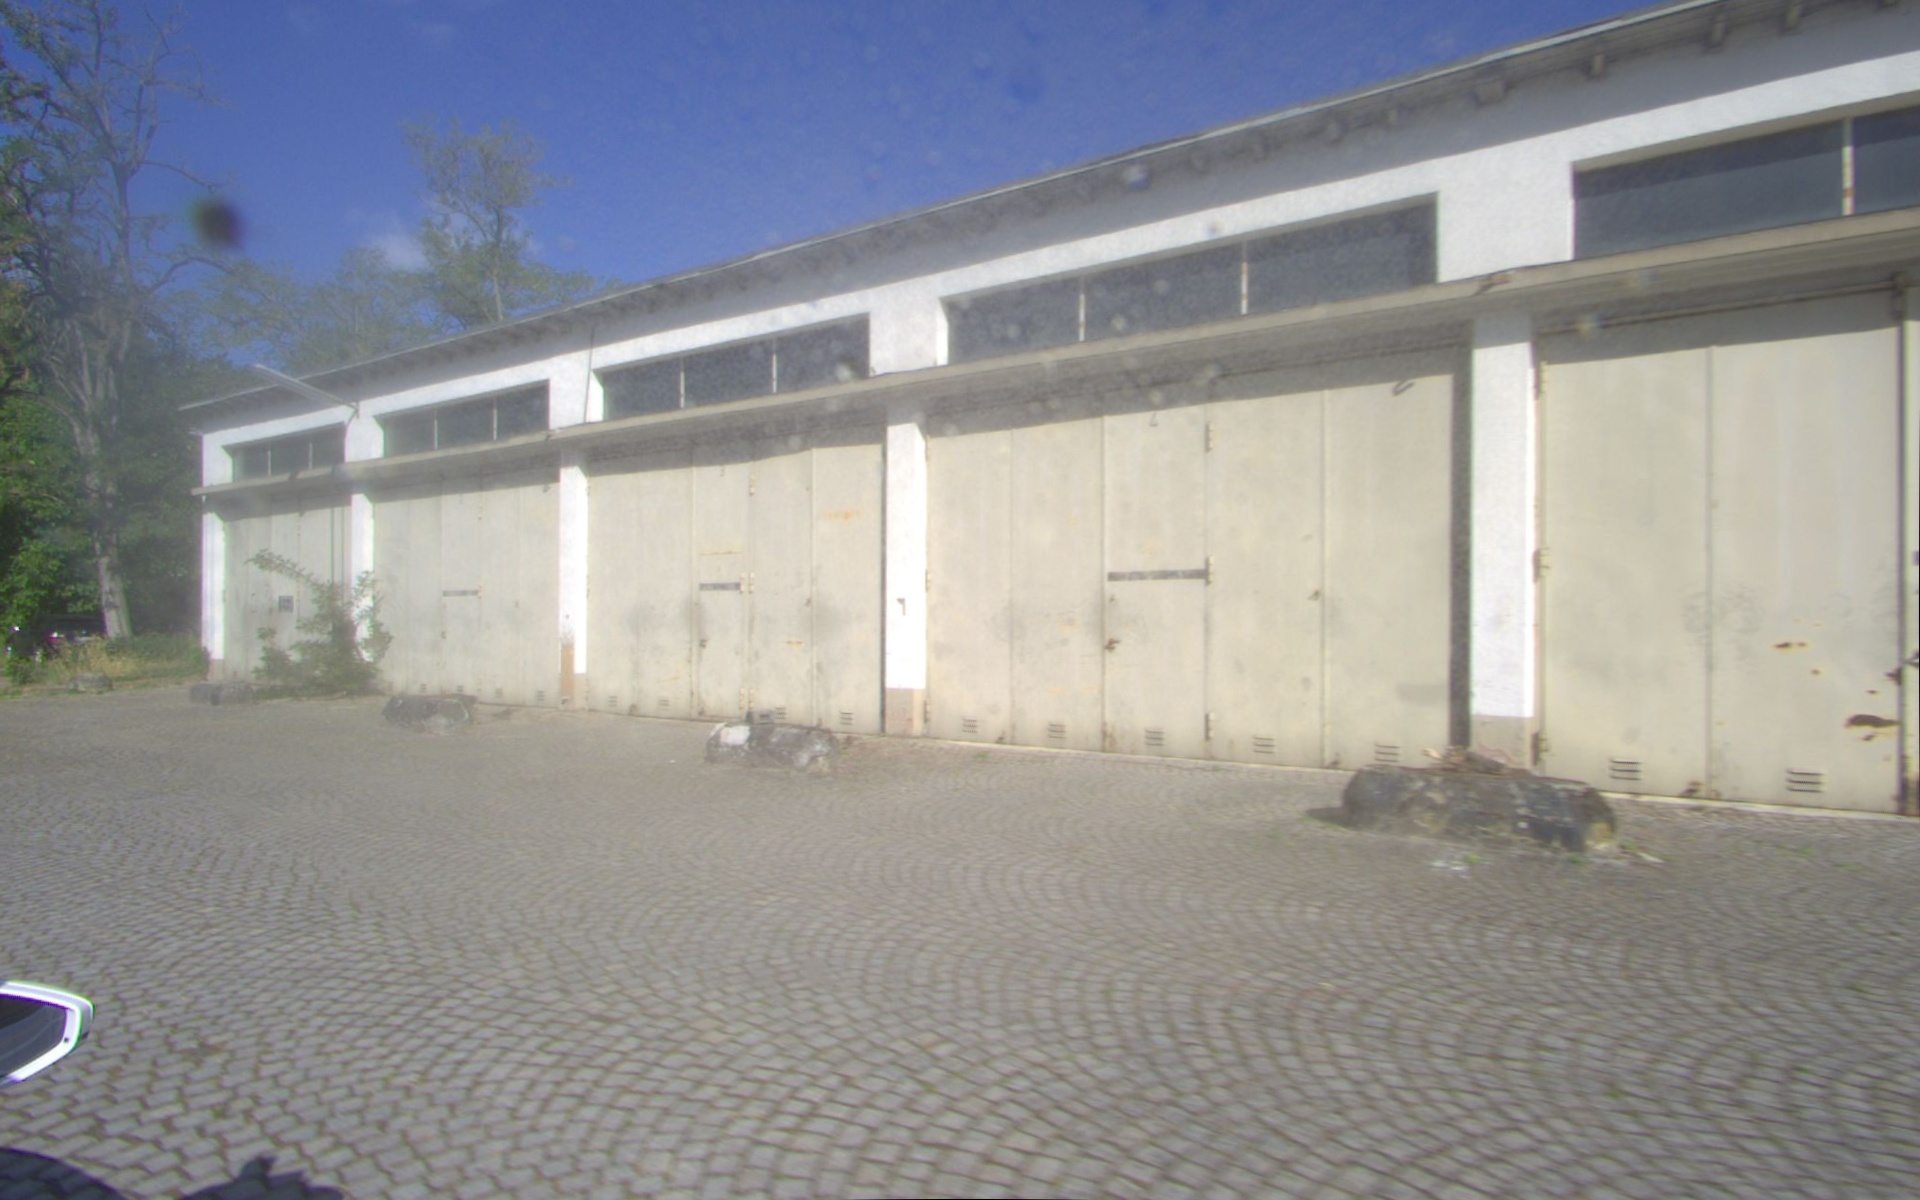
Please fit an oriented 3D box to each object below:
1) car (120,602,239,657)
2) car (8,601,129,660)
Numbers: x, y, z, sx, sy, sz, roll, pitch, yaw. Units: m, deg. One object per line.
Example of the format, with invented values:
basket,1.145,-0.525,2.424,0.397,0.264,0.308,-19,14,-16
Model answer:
car,-27.904,1.023,35.782,4.205,1.610,1.822,4,1,28
car,-29.350,0.970,32.928,4.211,1.652,1.871,3,0,33
